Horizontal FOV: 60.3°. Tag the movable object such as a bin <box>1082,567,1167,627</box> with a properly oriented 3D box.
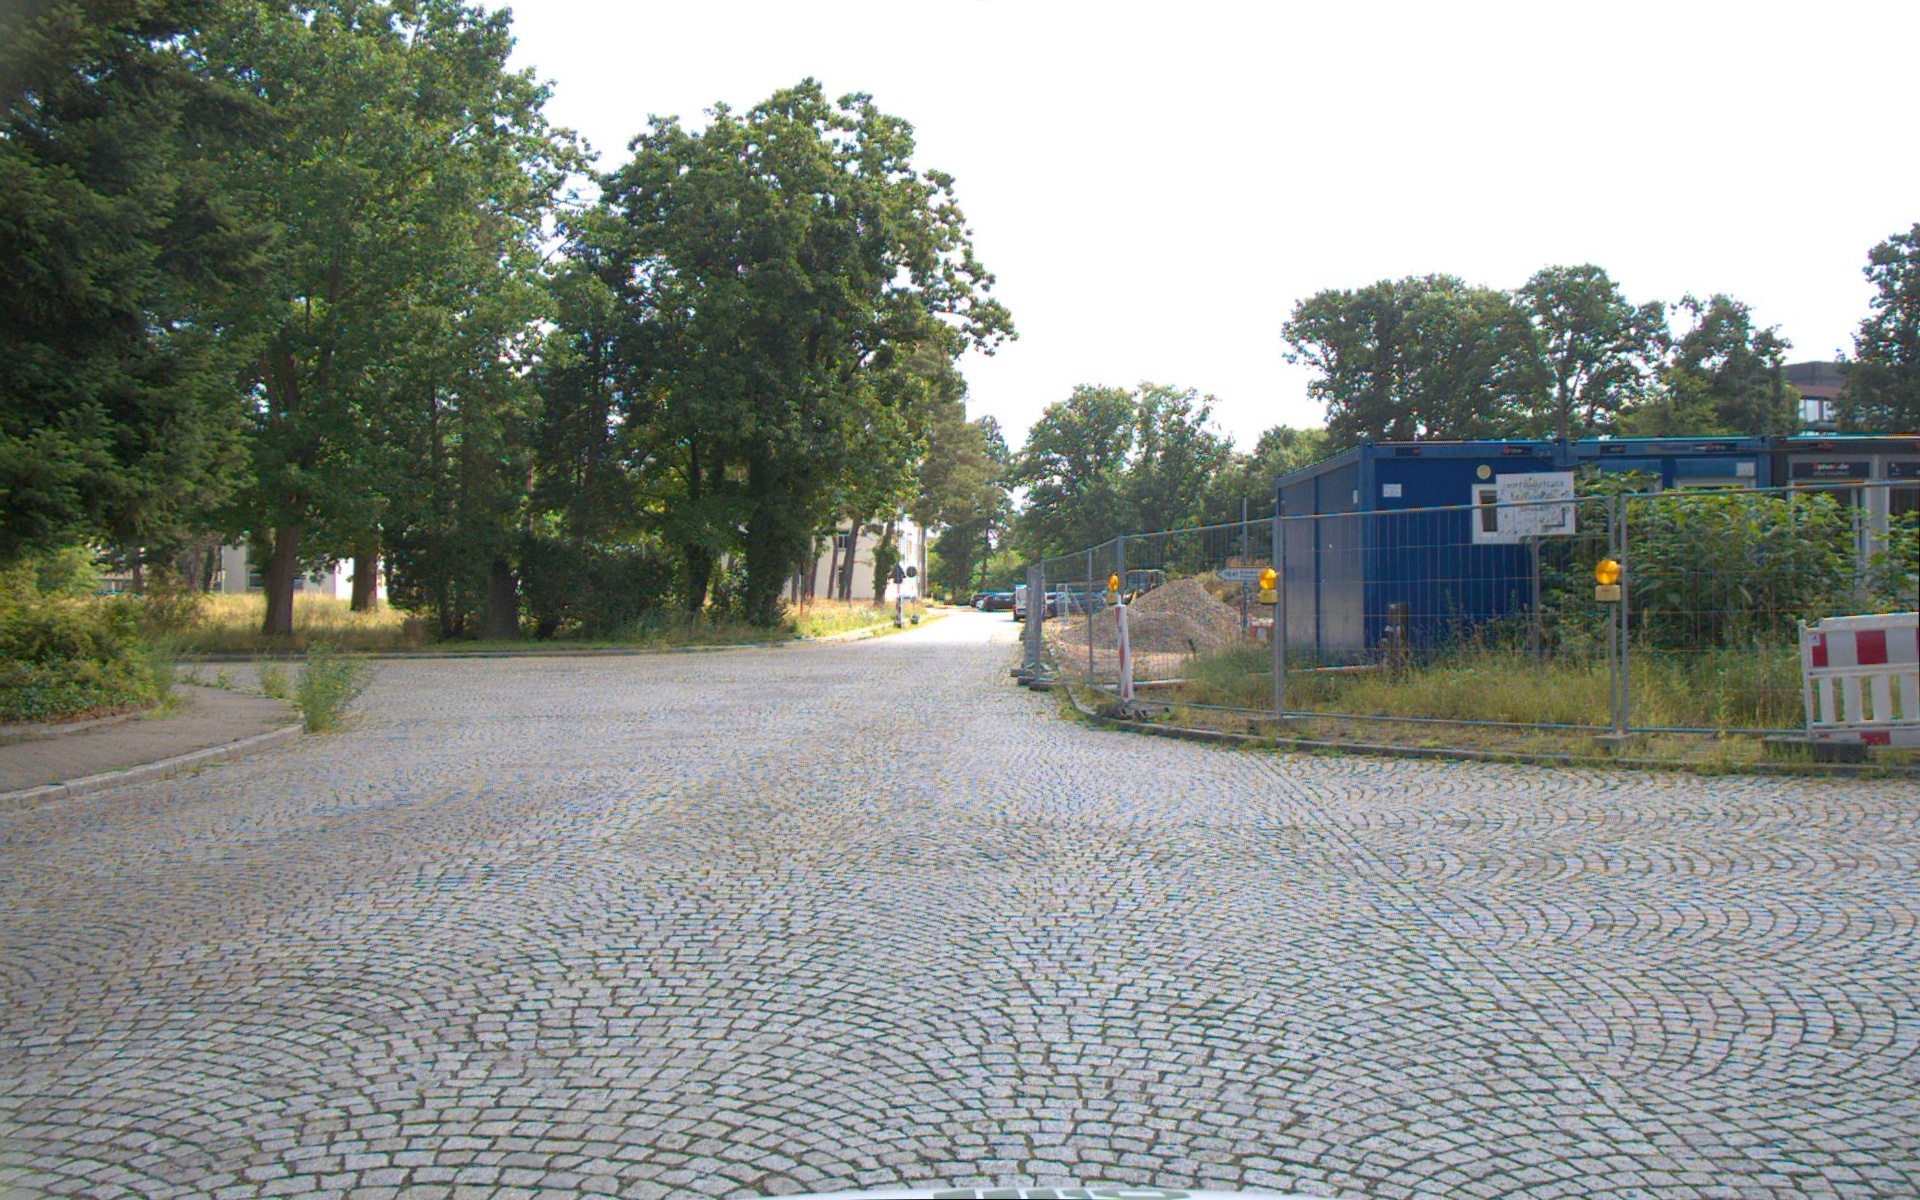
[{"bbox_3d":[7.570,-0.131,75.587,2.089,2.638,4.781,0,0,30],"label":"movable object such as a bin"}]

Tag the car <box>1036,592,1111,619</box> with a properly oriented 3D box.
[{"bbox_3d":[6.797,0.297,99.068,4.308,1.537,2.002,1,0,10],"label":"car"}]

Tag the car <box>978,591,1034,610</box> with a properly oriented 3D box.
[{"bbox_3d":[3.933,0.036,141.414,4.685,1.669,1.998,0,0,-4],"label":"car"}]

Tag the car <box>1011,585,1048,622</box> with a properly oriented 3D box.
[{"bbox_3d":[3.879,0.176,93.081,1.952,2.049,4.091,0,0,0],"label":"car"}]
